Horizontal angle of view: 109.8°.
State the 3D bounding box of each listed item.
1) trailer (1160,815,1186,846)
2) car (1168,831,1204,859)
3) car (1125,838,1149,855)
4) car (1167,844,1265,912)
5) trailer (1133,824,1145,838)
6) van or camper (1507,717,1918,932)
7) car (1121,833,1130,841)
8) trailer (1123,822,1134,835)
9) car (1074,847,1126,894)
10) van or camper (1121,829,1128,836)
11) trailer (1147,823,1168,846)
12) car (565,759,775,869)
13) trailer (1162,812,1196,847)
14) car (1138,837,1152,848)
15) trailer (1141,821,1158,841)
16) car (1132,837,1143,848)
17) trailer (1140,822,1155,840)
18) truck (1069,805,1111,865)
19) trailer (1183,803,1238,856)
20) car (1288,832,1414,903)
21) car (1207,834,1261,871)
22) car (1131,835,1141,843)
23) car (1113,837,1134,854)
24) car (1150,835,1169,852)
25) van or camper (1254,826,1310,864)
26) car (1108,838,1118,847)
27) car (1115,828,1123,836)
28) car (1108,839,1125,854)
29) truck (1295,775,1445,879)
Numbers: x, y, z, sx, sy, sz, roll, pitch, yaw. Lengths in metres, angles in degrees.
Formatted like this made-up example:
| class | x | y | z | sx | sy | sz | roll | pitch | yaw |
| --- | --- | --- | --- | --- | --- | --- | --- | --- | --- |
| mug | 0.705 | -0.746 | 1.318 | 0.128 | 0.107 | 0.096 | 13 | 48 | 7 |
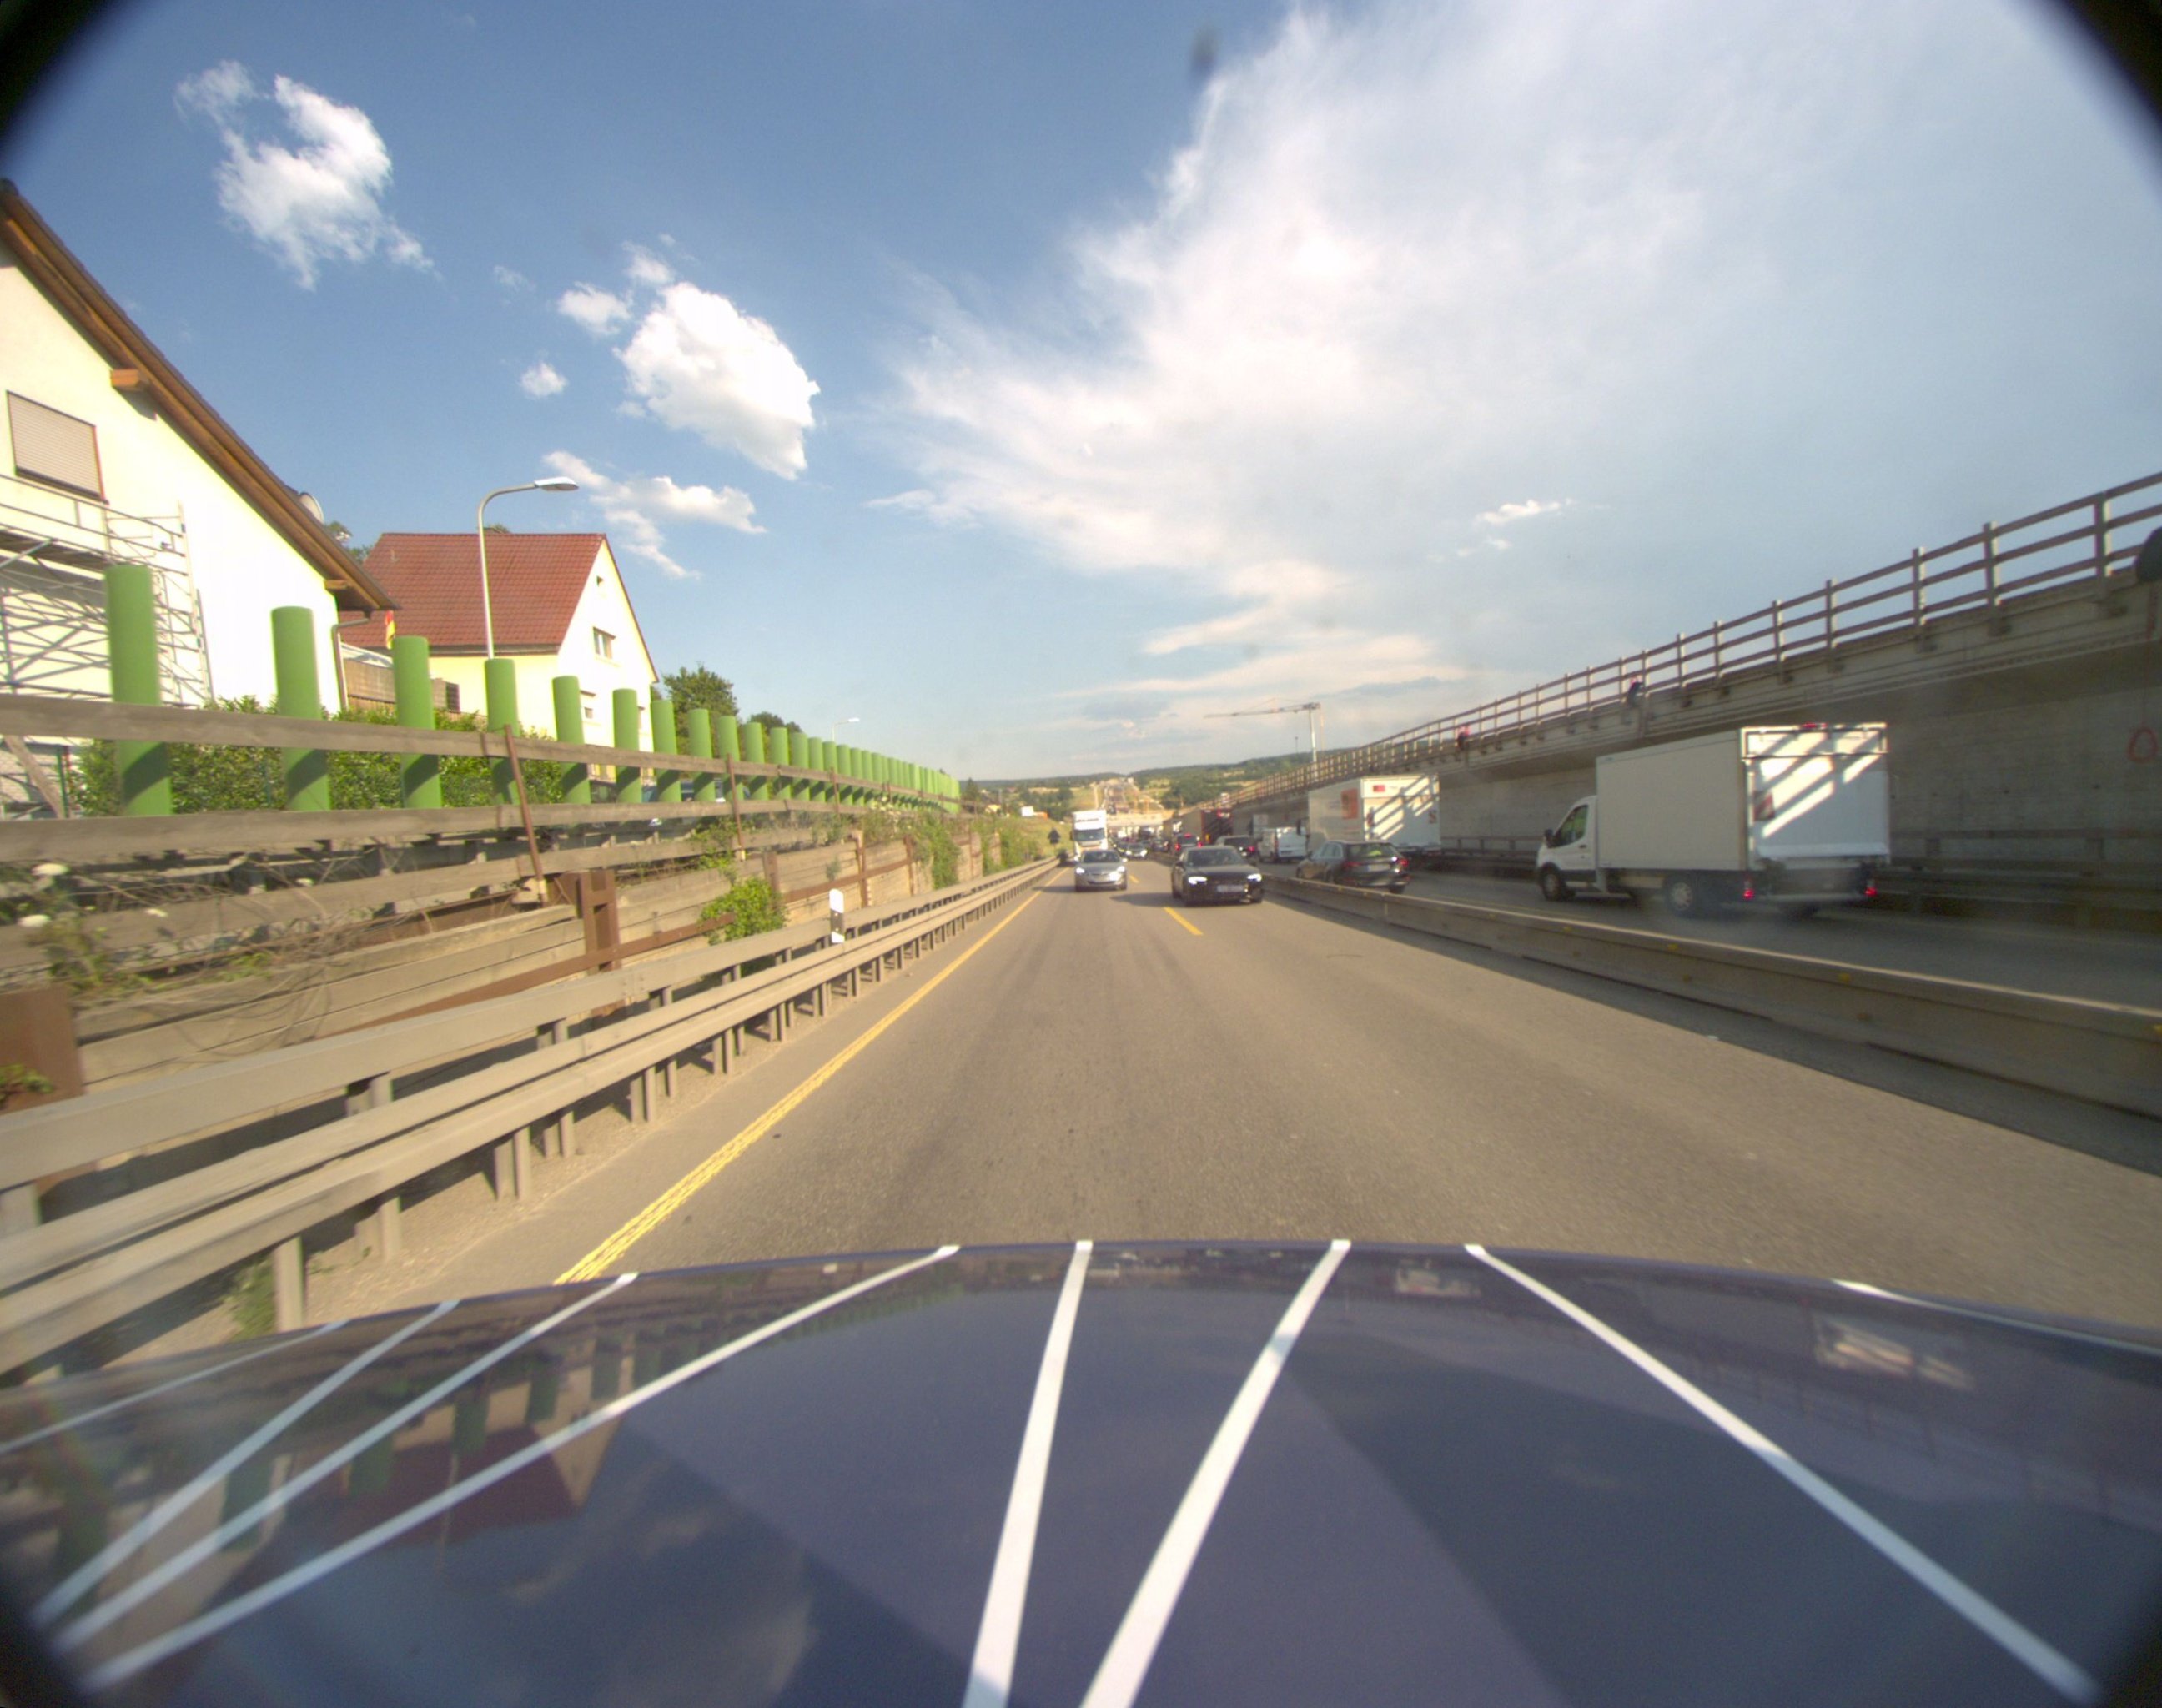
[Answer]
| class | x | y | z | sx | sy | sz | roll | pitch | yaw |
| --- | --- | --- | --- | --- | --- | --- | --- | --- | --- |
| trailer | 12.730 | -3.211 | 105.694 | 2.771 | 4.118 | 5.976 | -4 | 1 | 2 |
| car | 8.025 | -0.734 | 58.617 | 1.990 | 1.911 | 5.290 | -4 | 1 | 1 |
| car | 4.742 | -0.671 | 64.803 | 1.692 | 1.294 | 3.882 | -4 | 2 | 0 |
| car | 3.401 | 0.538 | 19.947 | 1.872 | 1.411 | 4.348 | -3 | 2 | 2 |
| trailer | 16.437 | -6.535 | 215.970 | 2.659 | 3.829 | 13.439 | -4 | 2 | 1 |
| van or camper | 10.667 | -0.507 | 13.860 | 2.325 | 2.972 | 6.221 | -2 | 2 | 0 |
| car | 10.392 | -3.978 | 177.680 | 1.770 | 1.543 | 4.834 | -4 | 2 | 0 |
| trailer | 16.605 | -8.901 | 263.915 | 2.932 | 4.014 | 13.769 | -4 | 2 | 1 |
| car | 0.671 | 0.539 | 26.960 | 1.671 | 1.425 | 3.523 | -2 | 2 | 2 |
| van or camper | 13.718 | -6.693 | 237.969 | 1.863 | 2.002 | 5.294 | -4 | 2 | 1 |
| trailer | 12.675 | -3.270 | 126.528 | 2.563 | 3.507 | 10.679 | -4 | 2 | 2 |
| car | -8.051 | -0.727 | 15.442 | 1.887 | 1.802 | 4.246 | -4 | 1 | -1 |
| trailer | 12.576 | -3.085 | 98.993 | 2.771 | 4.117 | 14.024 | -4 | 1 | 2 |
| car | 9.288 | -1.686 | 110.923 | 1.645 | 1.451 | 4.595 | -4 | 2 | 2 |
| trailer | 15.140 | -5.083 | 168.569 | 2.778 | 4.008 | 15.759 | -4 | 2 | 2 |
| car | 9.817 | -1.987 | 132.494 | 1.645 | 1.636 | 4.687 | -4 | 2 | 1 |
| trailer | 15.382 | -5.346 | 176.024 | 2.778 | 4.008 | 7.206 | -4 | 2 | 2 |
| truck | 0.872 | -1.569 | 59.762 | 2.741 | 4.034 | 12.668 | -4 | 2 | 2 |
| trailer | 11.556 | -2.269 | 69.402 | 2.920 | 4.216 | 13.765 | -4 | 2 | 2 |
| car | 7.064 | 0.257 | 20.382 | 1.746 | 1.587 | 4.556 | -4 | 2 | 1 |
| car | 7.763 | -0.157 | 38.954 | 1.836 | 1.636 | 4.687 | -4 | 2 | 1 |
| car | 11.289 | -3.087 | 156.926 | 1.729 | 1.548 | 4.296 | -4 | 1 | 1 |
| car | 4.684 | -0.923 | 83.870 | 1.998 | 1.740 | 3.999 | -3 | 1 | 0 |
| car | 8.890 | -1.239 | 86.265 | 1.826 | 1.762 | 5.139 | -4 | 2 | 3 |
| van or camper | 11.248 | -0.518 | 42.862 | 1.922 | 1.911 | 4.922 | -4 | 1 | 2 |
| car | 6.884 | -2.443 | 163.638 | 1.998 | 1.696 | 3.999 | -3 | 1 | 1 |
| car | 13.124 | -7.585 | 262.330 | 1.999 | 2.608 | 7.406 | -4 | 2 | -1 |
| car | 4.515 | -0.999 | 96.834 | 1.917 | 1.746 | 3.999 | -2 | 1 | 1 |
| truck | 10.637 | -1.014 | 29.038 | 2.721 | 3.405 | 8.138 | 0 | 2 | 1 |
